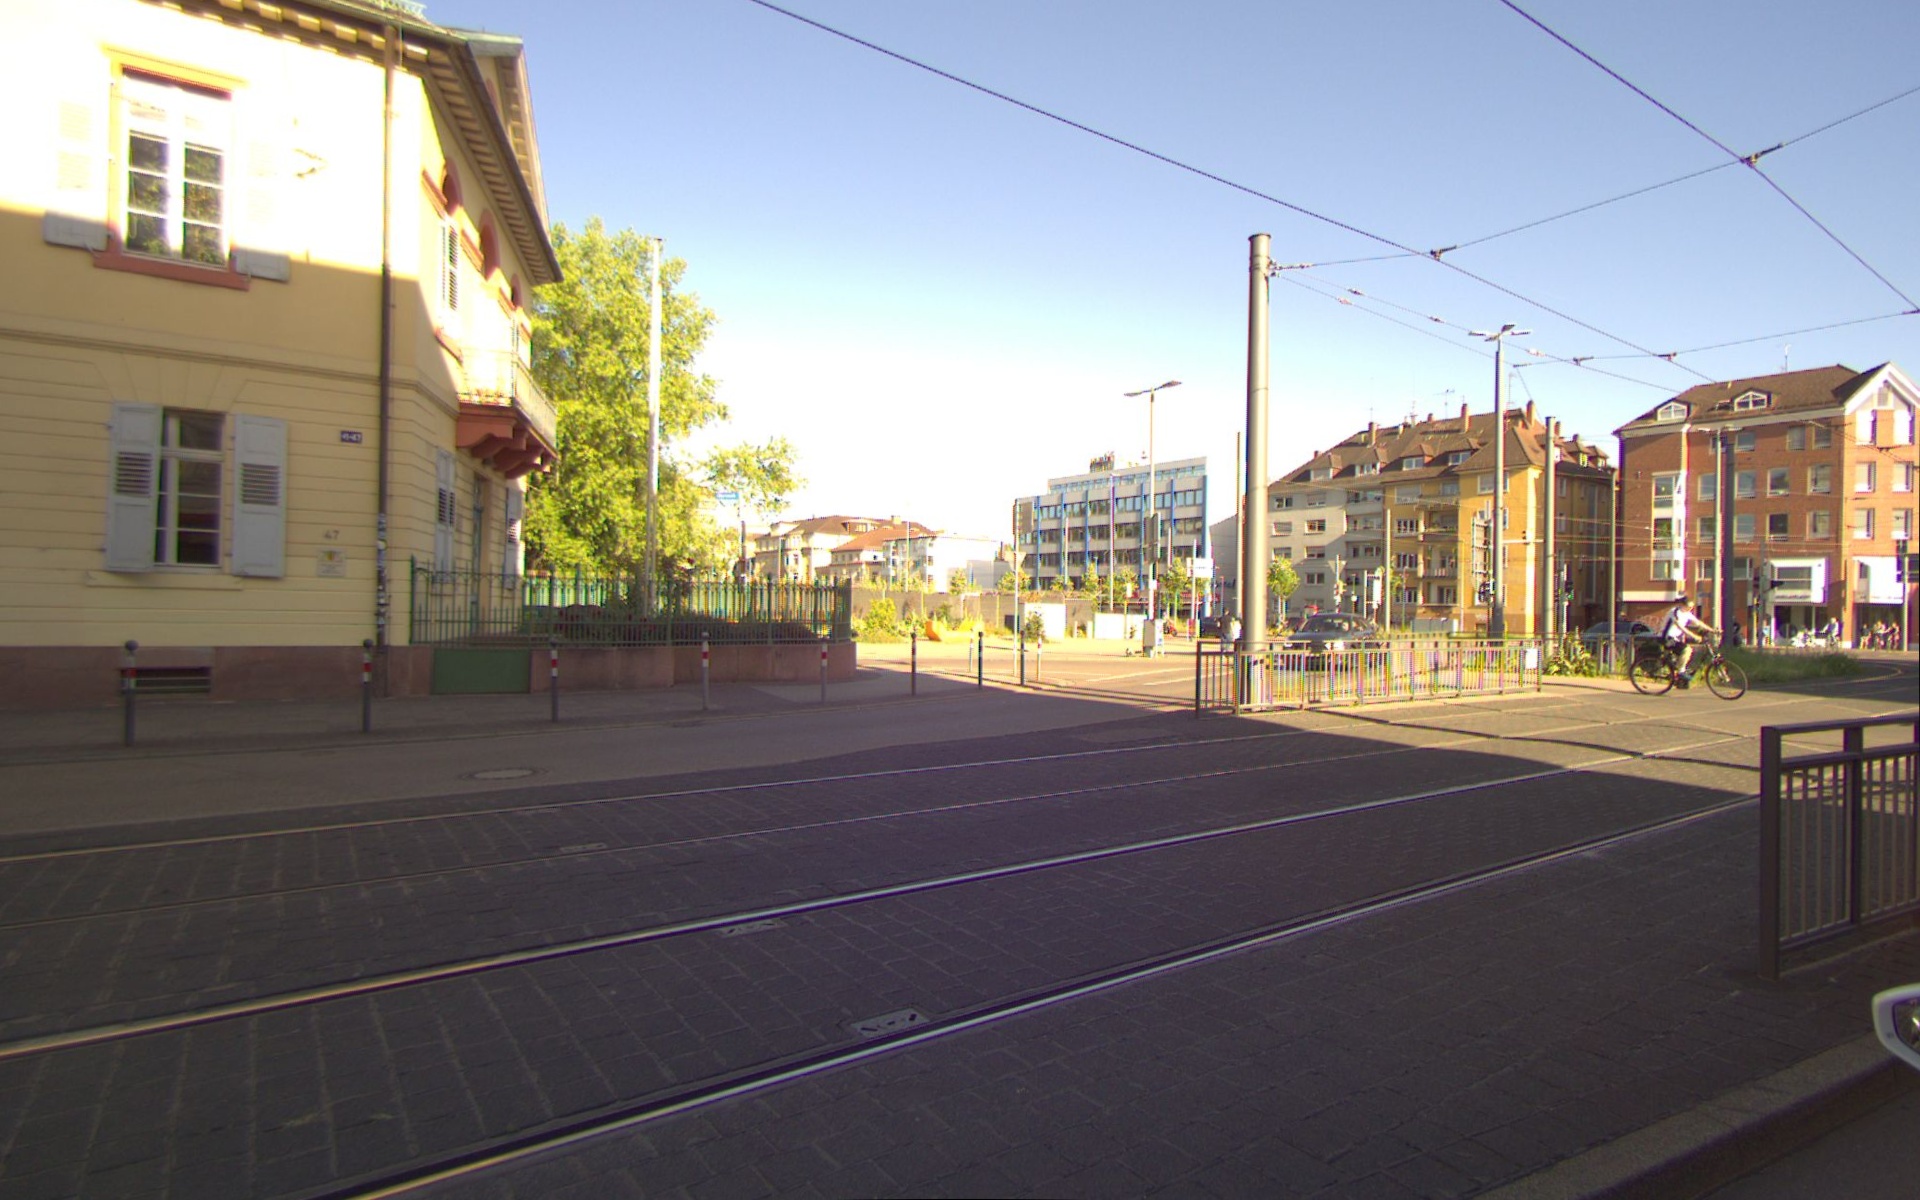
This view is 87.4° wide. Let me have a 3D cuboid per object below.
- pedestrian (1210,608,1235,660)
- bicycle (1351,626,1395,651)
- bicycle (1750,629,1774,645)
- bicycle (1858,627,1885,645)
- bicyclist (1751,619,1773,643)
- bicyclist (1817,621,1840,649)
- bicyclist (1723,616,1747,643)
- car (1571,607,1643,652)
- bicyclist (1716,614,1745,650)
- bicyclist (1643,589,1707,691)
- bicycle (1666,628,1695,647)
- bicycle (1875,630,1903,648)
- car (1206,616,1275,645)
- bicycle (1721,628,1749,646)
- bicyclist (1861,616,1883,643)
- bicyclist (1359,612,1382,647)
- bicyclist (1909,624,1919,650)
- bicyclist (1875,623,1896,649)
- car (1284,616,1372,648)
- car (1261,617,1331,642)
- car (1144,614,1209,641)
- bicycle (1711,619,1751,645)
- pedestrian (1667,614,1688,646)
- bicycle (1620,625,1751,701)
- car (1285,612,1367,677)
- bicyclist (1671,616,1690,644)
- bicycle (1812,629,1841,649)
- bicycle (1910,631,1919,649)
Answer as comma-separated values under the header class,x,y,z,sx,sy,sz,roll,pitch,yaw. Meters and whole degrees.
class,x,y,z,sx,sy,sz,roll,pitch,yaw
pedestrian,8.896,1.138,34.057,0.759,1.703,0.592,2,0,18
bicycle,22.356,2.088,54.370,0.542,1.230,2.168,2,0,-41
bicycle,50.395,2.340,63.126,1.669,0.994,0.403,2,0,-22
bicycle,55.135,2.167,60.754,2.255,1.103,0.527,1,-2,-28
bicyclist,50.367,1.966,63.109,0.958,1.490,0.702,1,0,-22
bicyclist,50.073,2.027,57.895,0.737,1.584,0.781,2,0,-28
bicyclist,45.458,1.731,58.909,0.688,1.523,0.894,2,0,-30
car,23.973,1.073,37.166,1.690,1.547,4.016,2,0,40
bicyclist,33.271,1.371,43.376,0.581,1.547,0.783,2,0,-25
bicyclist,12.894,0.699,18.117,0.752,1.783,0.744,2,0,-40
bicycle,39.708,2.063,55.360,2.220,0.984,0.444,2,0,-31
bicycle,57.826,2.420,62.521,2.255,1.103,0.527,2,0,-28
car,18.006,1.940,64.581,1.762,1.694,3.955,2,0,-39
bicycle,45.473,2.166,58.919,2.220,0.984,0.521,2,0,-31
bicyclist,55.194,1.794,60.820,0.737,1.584,0.781,1,0,-28
bicyclist,22.266,1.599,54.480,0.785,1.832,0.892,2,0,-41
bicyclist,58.580,2.237,61.310,0.737,1.584,0.781,1,0,-28
bicyclist,57.312,2.237,62.202,0.737,1.584,0.781,1,0,-28
car,21.882,1.884,59.887,1.984,1.723,4.545,2,0,-41
car,21.871,1.920,65.441,1.781,1.503,3.949,2,0,-43
car,14.752,1.869,68.567,1.895,1.708,3.916,2,0,-41
bicycle,33.281,1.385,43.361,2.172,1.108,0.457,2,0,-26
pedestrian,43.500,1.815,60.905,0.737,1.845,0.781,2,0,-28
bicycle,12.967,1.102,18.001,0.481,1.238,1.833,2,0,-40
car,9.746,1.125,26.584,1.614,1.546,3.861,2,0,26
bicyclist,39.709,1.646,55.361,0.688,1.523,0.630,2,0,-30
bicycle,49.926,2.260,57.863,2.197,1.103,0.535,2,0,-28
bicycle,59.131,2.442,61.639,2.197,1.103,0.527,1,-1,-28
